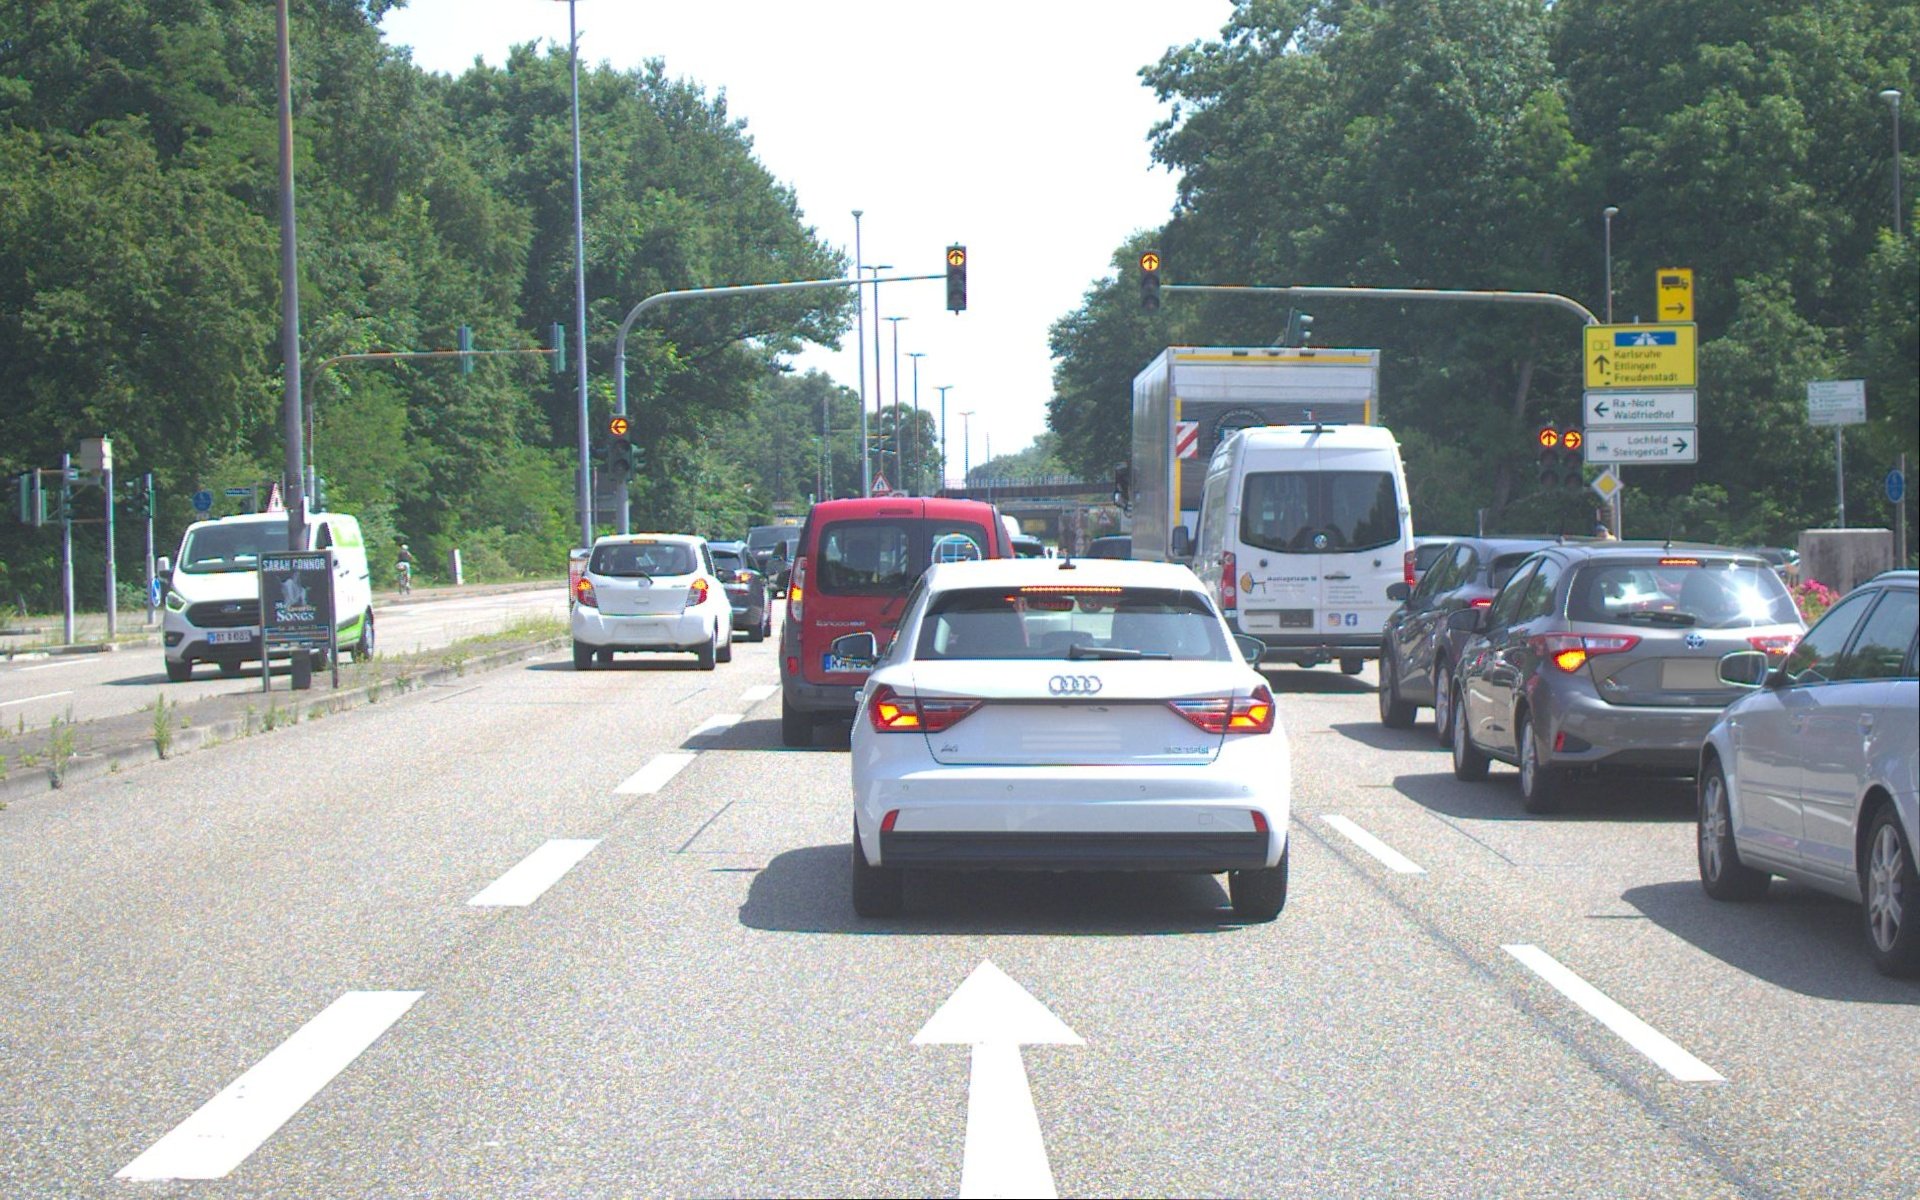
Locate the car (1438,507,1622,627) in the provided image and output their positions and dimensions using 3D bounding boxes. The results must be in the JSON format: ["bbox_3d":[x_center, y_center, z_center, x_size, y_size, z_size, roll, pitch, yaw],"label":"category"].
[{"bbox_3d":[7.596,-0.465,46.164,1.712,1.541,4.092,0,1,-1],"label":"car"}]

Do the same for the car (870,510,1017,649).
[{"bbox_3d":[-0.231,-0.280,42.119,1.712,1.626,4.092,0,1,-1],"label":"car"}]

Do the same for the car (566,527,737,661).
[{"bbox_3d":[-3.556,-0.107,40.186,1.712,1.487,4.092,0,1,-1],"label":"car"}]

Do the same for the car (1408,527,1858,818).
[{"bbox_3d":[3.844,0.346,20.322,1.712,1.473,4.092,3,1,-1],"label":"car"}]

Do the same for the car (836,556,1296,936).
[{"bbox_3d":[0.352,0.518,14.841,1.712,1.381,4.092,0,1,-1],"label":"car"}]

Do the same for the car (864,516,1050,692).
[{"bbox_3d":[-0.067,-0.004,33.671,1.712,1.626,4.092,0,1,-1],"label":"car"}]

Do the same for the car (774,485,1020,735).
[{"bbox_3d":[-0.480,0.027,25.974,1.712,1.742,4.092,0,1,-1],"label":"car"}]

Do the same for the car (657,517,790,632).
[{"bbox_3d":[-3.447,-0.399,50.692,1.774,1.635,4.037,0,1,-1],"label":"car"}]

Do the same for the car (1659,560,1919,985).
[{"bbox_3d":[3.969,0.561,12.991,1.712,1.357,4.092,1,1,-1],"label":"car"}]

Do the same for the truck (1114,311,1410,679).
[{"bbox_3d":[3.909,-1.385,47.344,3.088,4.418,11.580,0,1,0],"label":"truck"}]

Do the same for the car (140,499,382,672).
[{"bbox_3d":[-8.677,-0.223,43.099,1.993,1.939,4.909,-3,1,-1],"label":"car"}]

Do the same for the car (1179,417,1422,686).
[{"bbox_3d":[3.498,-0.525,36.171,2.031,2.635,4.845,0,1,0],"label":"car"}]

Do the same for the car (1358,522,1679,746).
[{"bbox_3d":[4.193,0.201,26.400,1.712,1.587,4.092,0,1,-1],"label":"car"}]

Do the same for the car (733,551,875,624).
[{"bbox_3d":[-3.820,-0.327,83.531,1.872,1.683,4.000,-2,1,-28],"label":"car"}]
